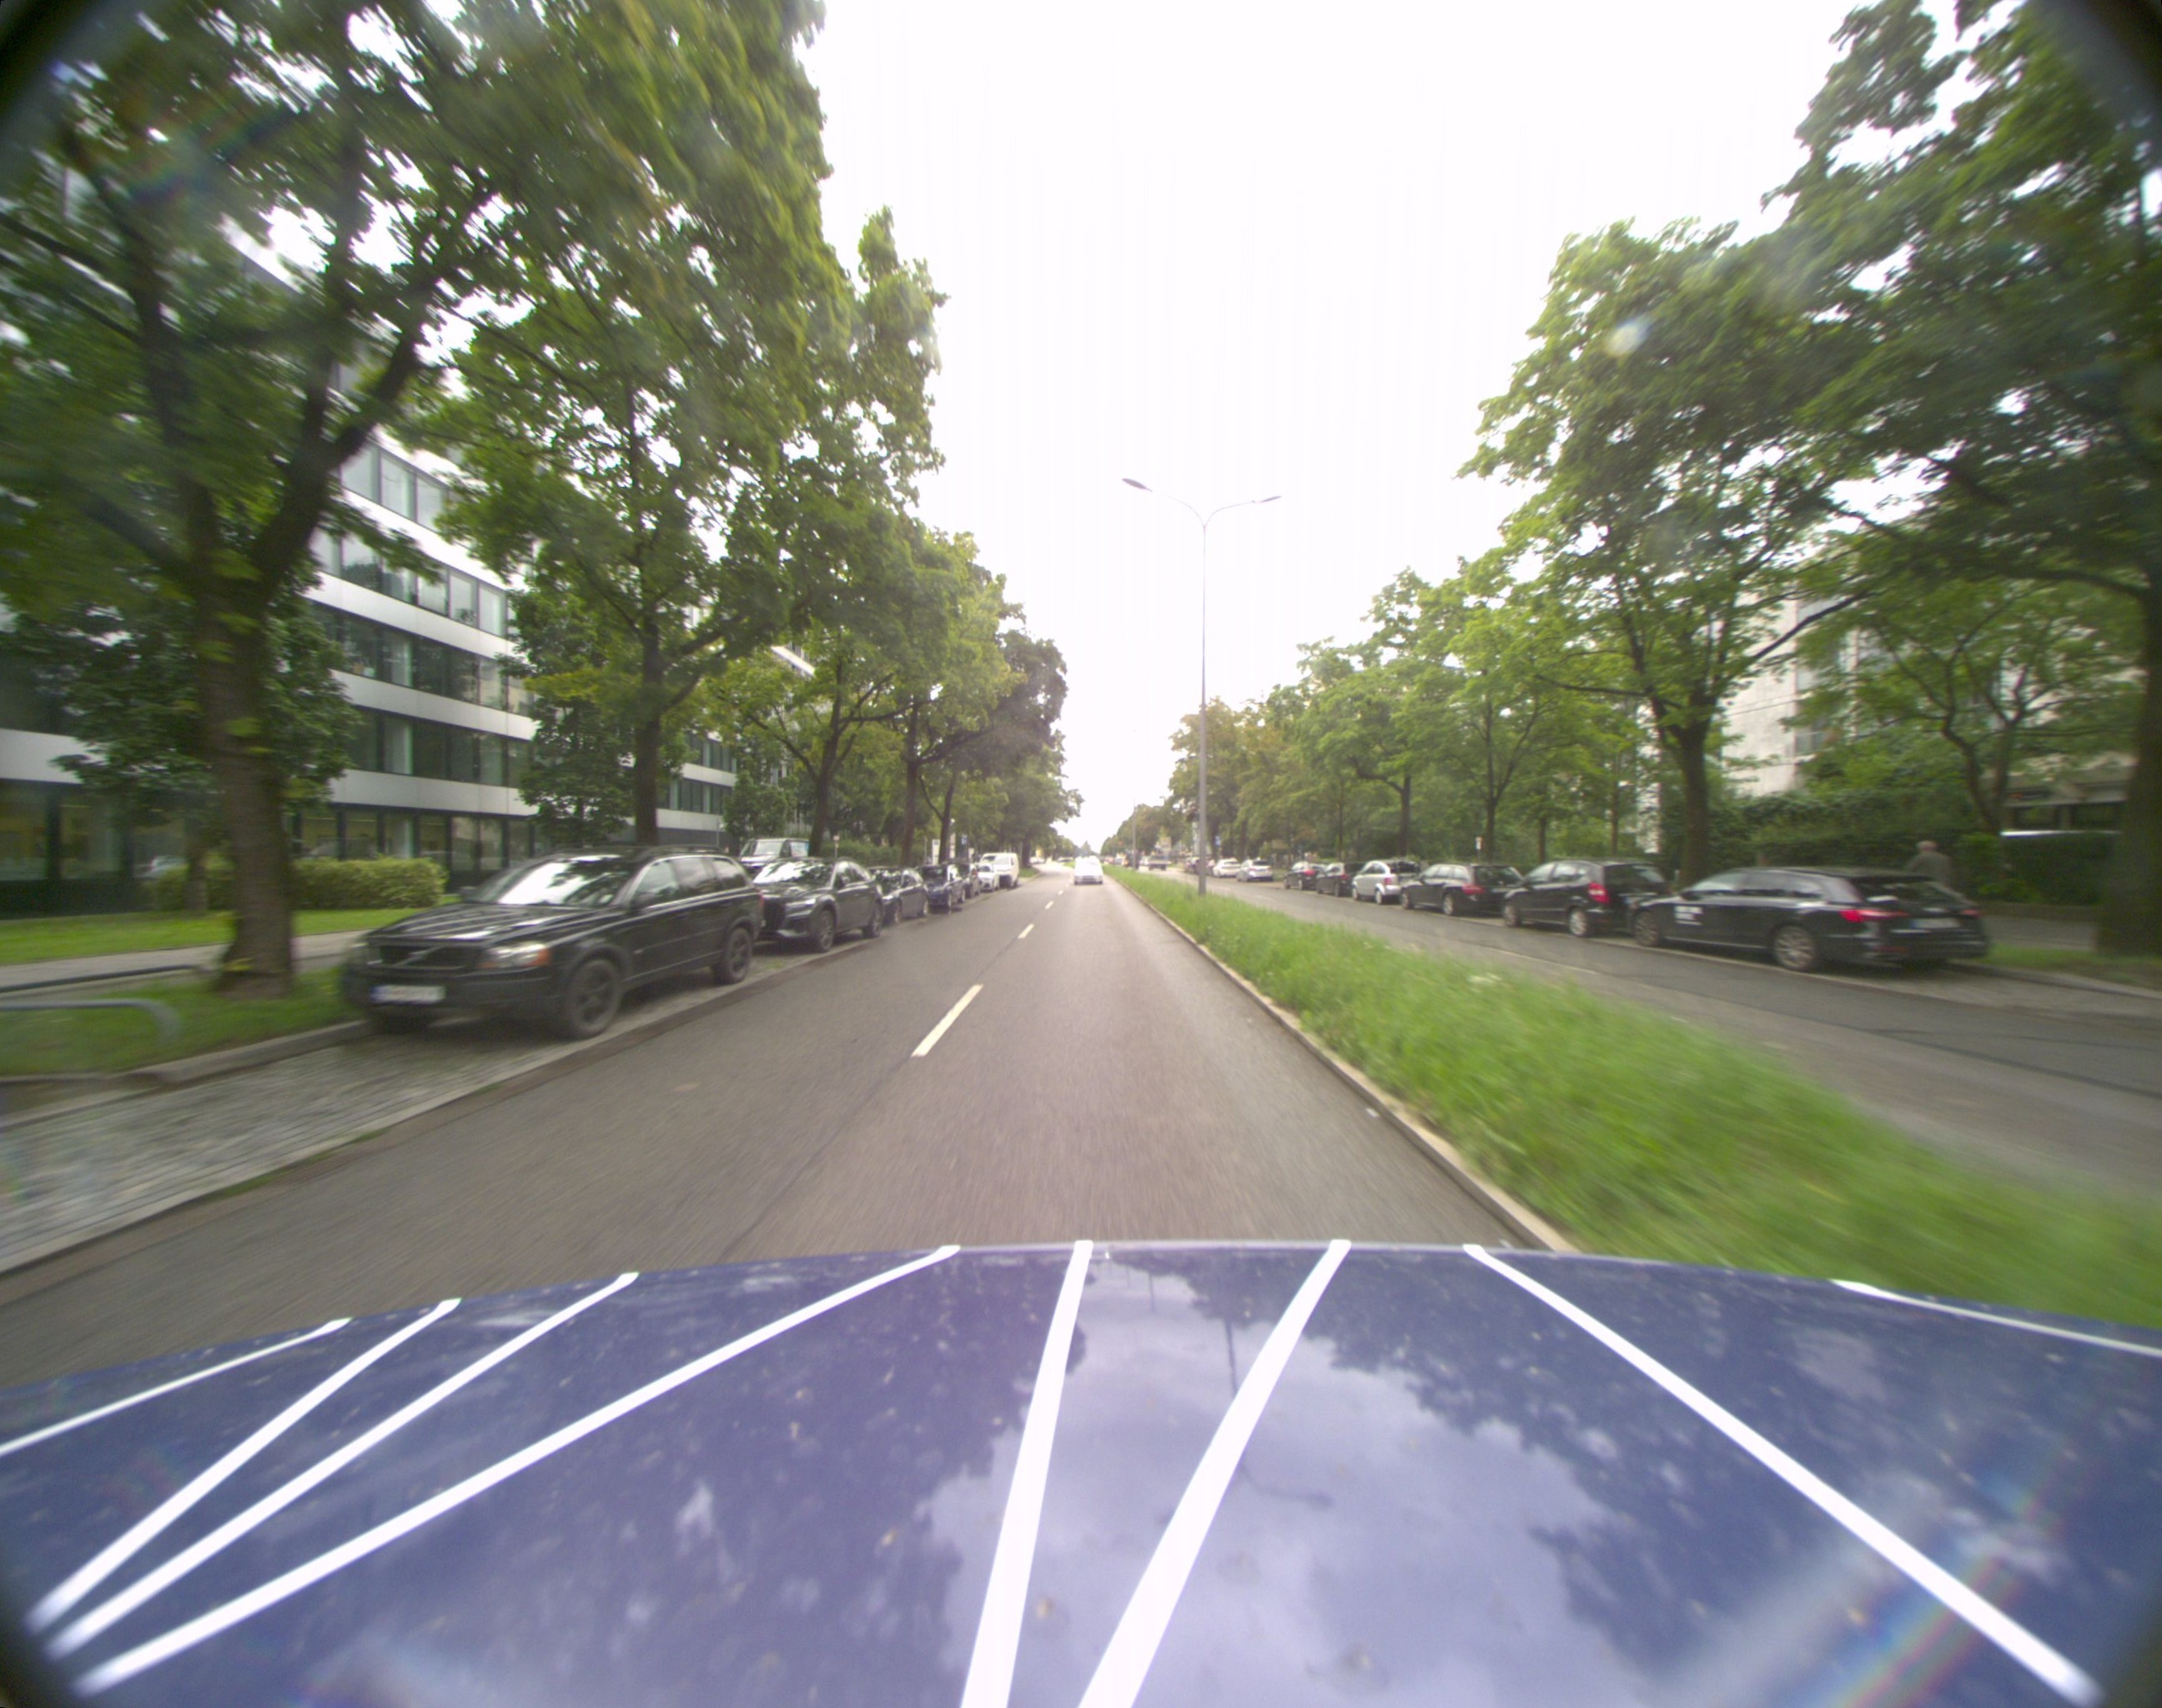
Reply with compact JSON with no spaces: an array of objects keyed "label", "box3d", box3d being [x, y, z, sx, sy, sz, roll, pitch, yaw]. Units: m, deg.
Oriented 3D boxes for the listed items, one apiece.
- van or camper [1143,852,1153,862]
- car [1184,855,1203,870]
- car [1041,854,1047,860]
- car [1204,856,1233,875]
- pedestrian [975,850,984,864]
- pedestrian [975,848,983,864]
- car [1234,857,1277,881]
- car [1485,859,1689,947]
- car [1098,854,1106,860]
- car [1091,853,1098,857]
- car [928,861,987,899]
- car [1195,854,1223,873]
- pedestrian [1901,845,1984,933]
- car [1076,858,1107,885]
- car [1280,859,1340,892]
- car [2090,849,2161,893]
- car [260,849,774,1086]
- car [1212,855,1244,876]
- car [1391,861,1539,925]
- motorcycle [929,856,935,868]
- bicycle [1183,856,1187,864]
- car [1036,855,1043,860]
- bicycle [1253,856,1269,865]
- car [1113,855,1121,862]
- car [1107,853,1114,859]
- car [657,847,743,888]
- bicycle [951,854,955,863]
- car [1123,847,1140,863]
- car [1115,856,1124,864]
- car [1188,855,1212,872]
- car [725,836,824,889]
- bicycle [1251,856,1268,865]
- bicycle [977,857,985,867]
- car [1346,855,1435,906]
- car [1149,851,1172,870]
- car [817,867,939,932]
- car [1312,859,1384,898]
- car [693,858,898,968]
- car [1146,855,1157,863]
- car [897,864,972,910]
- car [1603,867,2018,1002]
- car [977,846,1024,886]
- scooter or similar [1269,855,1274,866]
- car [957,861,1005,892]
[{"label":"van or camper","box3d":[14.017,0.653,159.303,1.809,1.956,5.210,1,0,0]},{"label":"car","box3d":[12.084,0.902,81.700,1.651,1.604,3.819,-1,0,2]},{"label":"car","box3d":[-10.335,0.831,211.835,1.590,1.495,3.735,1,0,1]},{"label":"car","box3d":[11.775,0.988,65.467,1.743,1.474,4.334,-2,0,1]},{"label":"pedestrian","box3d":[-12.004,0.350,90.127,0.784,1.704,0.751,1,0,15]},{"label":"pedestrian","box3d":[-12.236,0.234,91.053,0.652,1.888,0.750,1,0,14]},{"label":"car","box3d":[11.540,0.944,50.606,1.741,1.440,4.822,-3,0,0]},{"label":"car","box3d":[10.755,0.950,16.574,1.689,1.587,4.210,-2,0,2]},{"label":"car","box3d":[5.610,0.734,200.517,1.962,1.471,4.259,0,0,1]},{"label":"car","box3d":[3.847,0.292,221.467,1.787,1.397,4.101,1,0,-1]},{"label":"car","box3d":[-5.025,1.016,31.452,1.706,1.438,3.978,1,0,1]},{"label":"car","box3d":[11.836,0.883,70.443,1.743,1.642,4.606,-2,0,-1]},{"label":"pedestrian","box3d":[16.624,0.660,14.683,0.850,1.646,0.609,0,1,7]},{"label":"car","box3d":[0.625,0.965,43.260,1.679,1.433,3.735,1,0,1]},{"label":"car","box3d":[11.149,1.001,37.247,1.584,1.415,4.362,-3,0,0]},{"label":"car","box3d":[27.093,0.407,18.309,1.459,1.077,3.127,0,0,2]},{"label":"car","box3d":[-5.272,0.863,8.205,1.897,1.789,4.861,1,0,1]},{"label":"car","box3d":[11.628,0.882,60.255,1.743,1.521,4.475,-2,0,1]},{"label":"car","box3d":[10.896,1.023,22.031,1.720,1.515,5.034,-3,0,0]},{"label":"motorcycle","box3d":[-16.418,0.832,83.581,0.550,1.311,2.071,0,0,-14]},{"label":"bicycle","box3d":[14.960,0.859,109.437,0.409,1.071,1.955,-4,0,3]},{"label":"car","box3d":[-10.568,0.884,194.742,1.590,1.310,3.735,1,0,1]},{"label":"bicycle","box3d":[20.319,0.785,85.871,1.766,1.001,0.436,0,0,1]},{"label":"car","box3d":[8.232,0.986,173.023,1.919,1.475,4.866,1,0,3]},{"label":"car","box3d":[7.388,0.520,189.730,1.696,1.394,3.967,0,0,0]},{"label":"car","box3d":[-17.873,0.613,35.871,1.847,1.807,4.471,1,0,-1]},{"label":"bicycle","box3d":[-17.401,0.597,103.639,0.513,1.182,2.140,0,0,-10]},{"label":"car","box3d":[6.533,0.174,98.607,1.785,2.017,4.818,1,0,0]},{"label":"car","box3d":[7.748,1.175,153.135,1.770,1.615,4.376,1,0,1]},{"label":"car","box3d":[11.863,0.930,76.223,1.743,1.634,4.685,-1,0,1]},{"label":"car","box3d":[-14.485,0.382,36.401,2.271,2.293,6.267,1,0,-1]},{"label":"bicycle","box3d":[20.321,0.720,86.463,1.766,1.001,0.436,0,0,1]},{"label":"bicycle","box3d":[-12.364,0.983,93.586,0.531,1.219,1.863,2,-1,5]},{"label":"car","box3d":[11.008,0.895,27.269,1.629,1.638,3.868,-3,0,2]},{"label":"car","box3d":[9.799,0.769,94.284,2.214,2.181,5.799,2,0,0]},{"label":"car","box3d":[-5.094,1.085,19.762,1.705,1.400,4.513,1,0,4]},{"label":"car","box3d":[11.095,0.980,31.849,1.629,1.415,4.192,-3,0,2]},{"label":"car","box3d":[-5.040,0.930,14.238,1.817,1.666,4.800,1,0,3]},{"label":"car","box3d":[13.796,0.990,149.099,1.651,1.480,3.901,1,0,-1]},{"label":"car","box3d":[-4.976,1.075,26.254,1.706,1.413,4.121,1,0,1]},{"label":"car","box3d":[10.671,1.034,11.822,1.764,1.504,4.948,-2,0,2]},{"label":"car","box3d":[-4.511,0.636,43.544,1.992,2.145,5.555,1,0,1]},{"label":"scooter or similar","box3d":[20.188,0.718,80.483,0.436,1.120,1.291,0,0,13]},{"label":"car","box3d":[-4.841,1.045,37.215,1.706,1.389,4.233,1,0,1]}]
